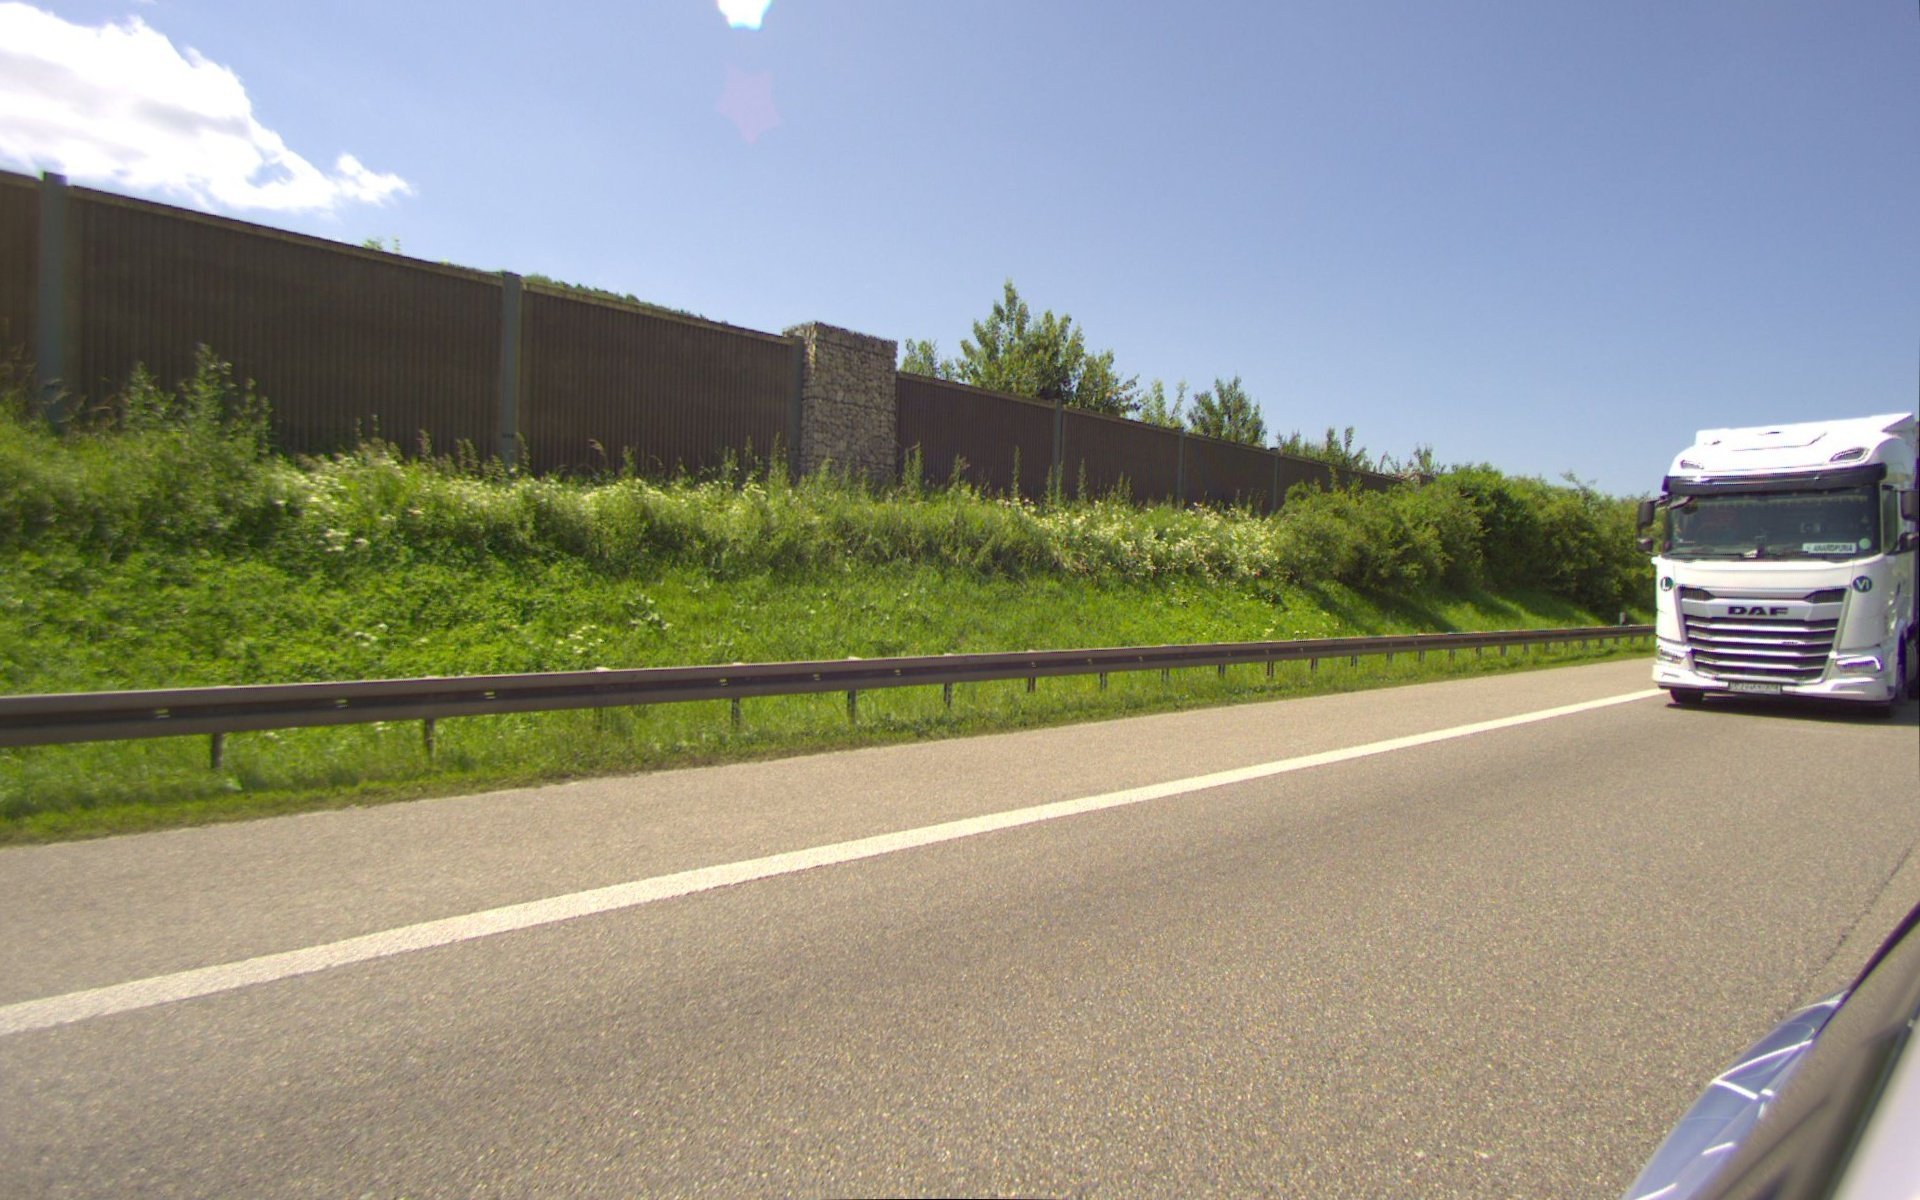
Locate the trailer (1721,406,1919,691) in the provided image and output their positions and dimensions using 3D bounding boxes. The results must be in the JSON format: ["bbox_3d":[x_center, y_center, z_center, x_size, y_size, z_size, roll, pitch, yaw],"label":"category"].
[{"bbox_3d":[17.812,-0.769,19.562,13.421,4.027,2.481,0,1,-42],"label":"trailer"}]

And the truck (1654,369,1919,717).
[{"bbox_3d":[12.473,-0.693,14.755,6.272,4.027,2.481,0,1,-42],"label":"truck"}]
